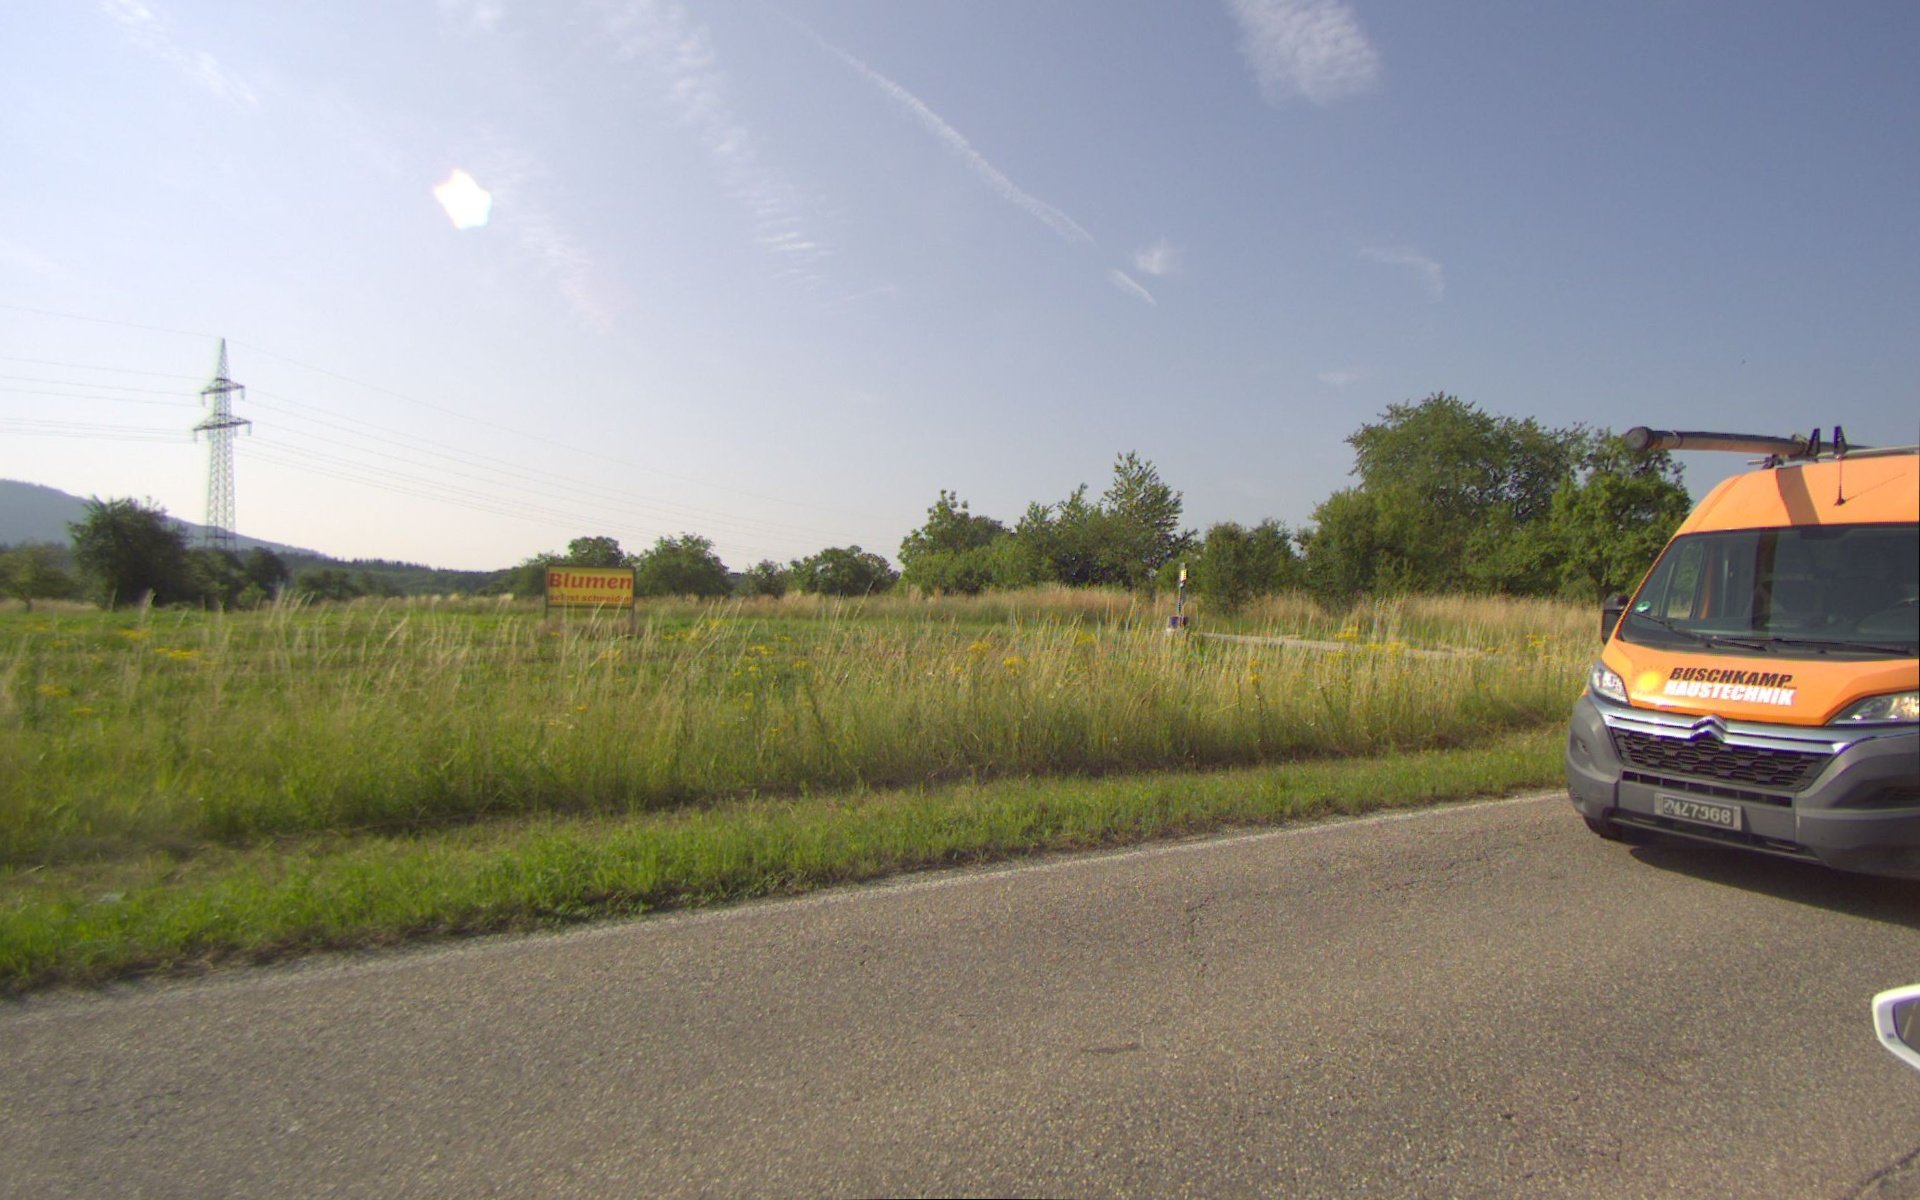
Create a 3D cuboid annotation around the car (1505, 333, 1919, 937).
[{"bbox_3d":[6.231,0.187,6.577,5.202,2.732,2.115,1,1,-28],"label":"car"}]
